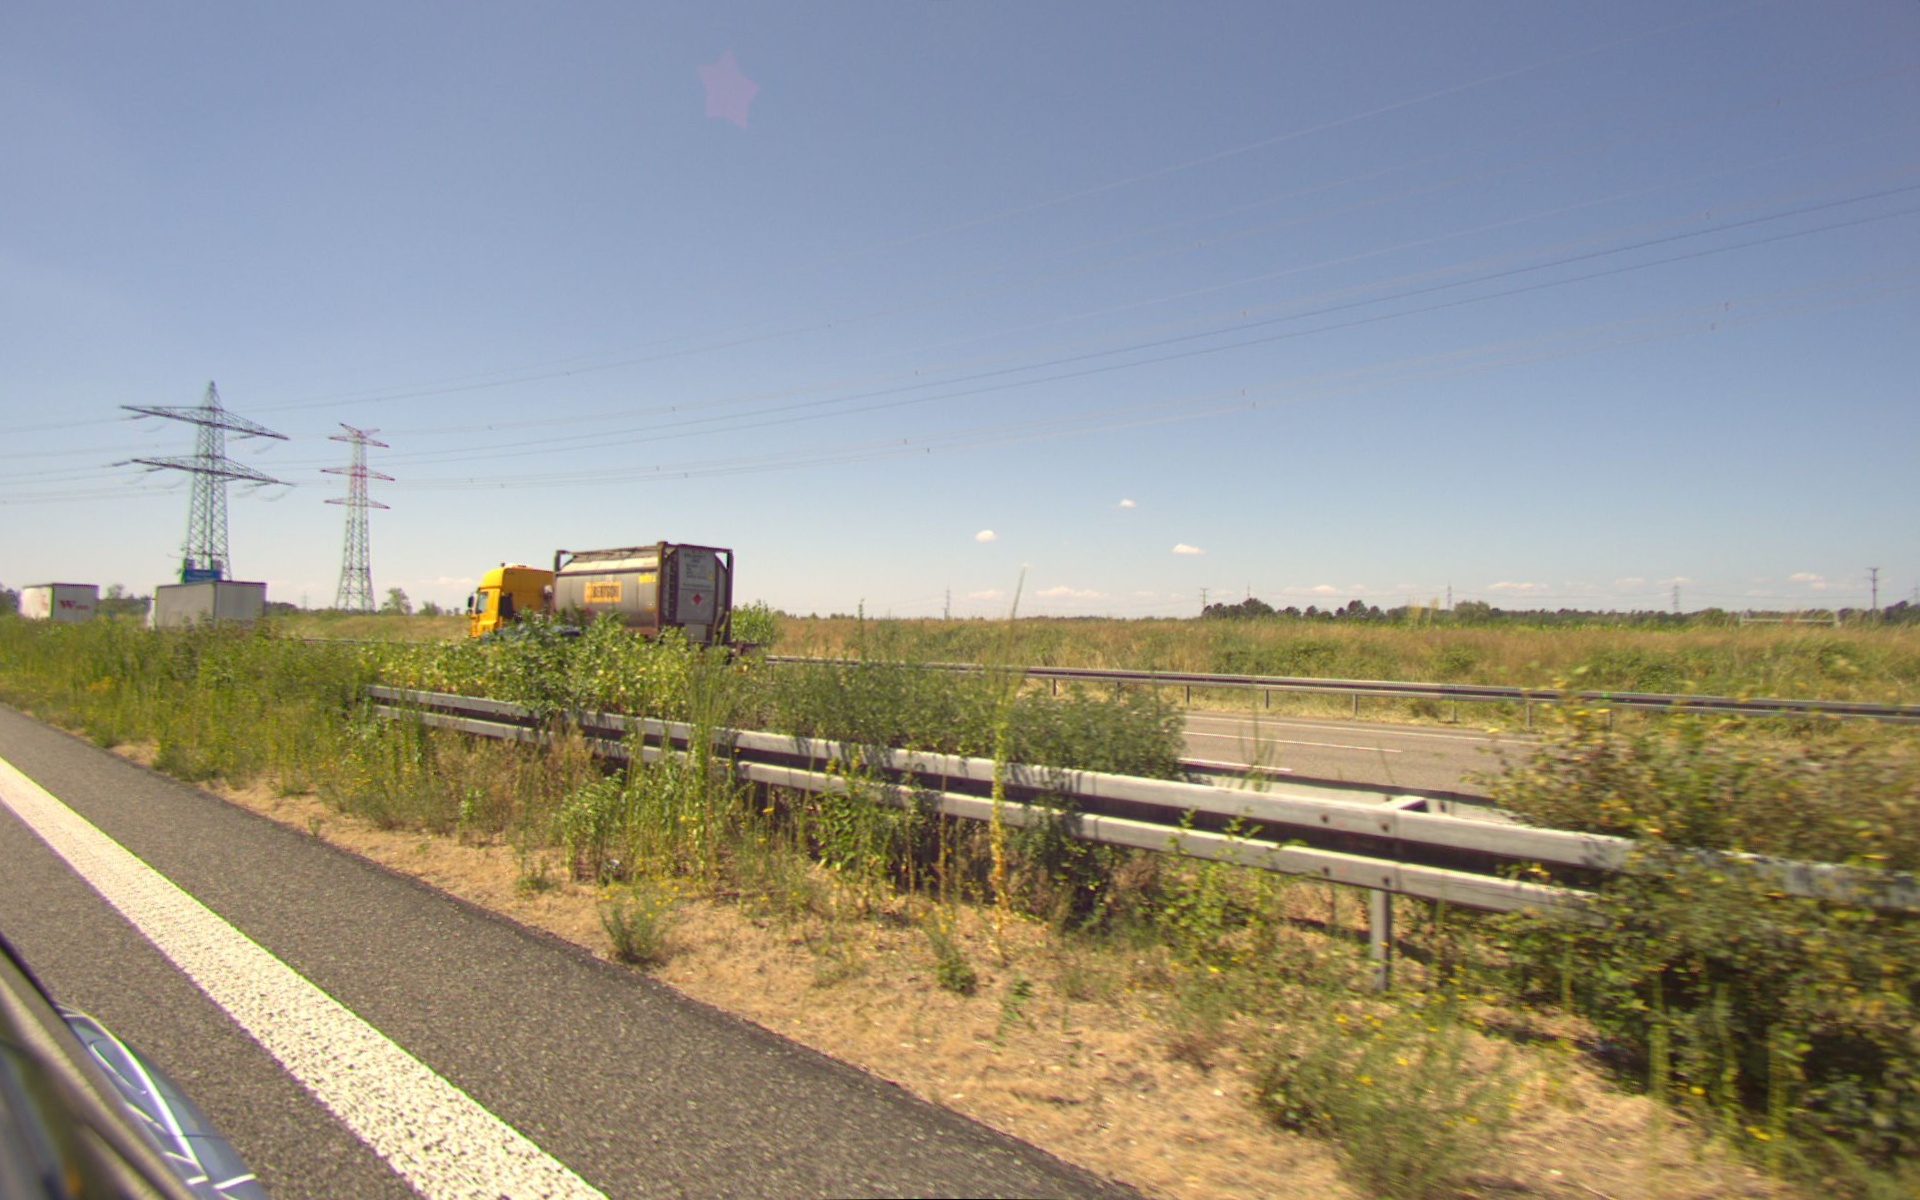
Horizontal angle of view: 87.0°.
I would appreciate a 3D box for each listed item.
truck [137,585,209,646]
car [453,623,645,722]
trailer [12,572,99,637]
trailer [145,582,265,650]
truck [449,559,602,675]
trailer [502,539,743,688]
[{"bbox_3d":[-52.229,1.045,67.138,5.566,3.882,2.747,-1,-1,41],"label":"truck"},{"bbox_3d":[-7.375,1.205,17.988,3.997,1.564,1.455,-1,-2,40],"label":"car"},{"bbox_3d":[-67.266,0.453,75.068,14.230,4.383,2.741,-1,-4,41],"label":"trailer"},{"bbox_3d":[-47.187,1.031,62.967,14.227,3.858,2.741,-1,-1,40],"label":"trailer"},{"bbox_3d":[-15.349,0.632,35.634,5.642,3.756,2.697,-1,-3,41],"label":"truck"},{"bbox_3d":[-10.843,0.466,31.831,9.418,4.076,2.708,-1,-3,41],"label":"trailer"}]
